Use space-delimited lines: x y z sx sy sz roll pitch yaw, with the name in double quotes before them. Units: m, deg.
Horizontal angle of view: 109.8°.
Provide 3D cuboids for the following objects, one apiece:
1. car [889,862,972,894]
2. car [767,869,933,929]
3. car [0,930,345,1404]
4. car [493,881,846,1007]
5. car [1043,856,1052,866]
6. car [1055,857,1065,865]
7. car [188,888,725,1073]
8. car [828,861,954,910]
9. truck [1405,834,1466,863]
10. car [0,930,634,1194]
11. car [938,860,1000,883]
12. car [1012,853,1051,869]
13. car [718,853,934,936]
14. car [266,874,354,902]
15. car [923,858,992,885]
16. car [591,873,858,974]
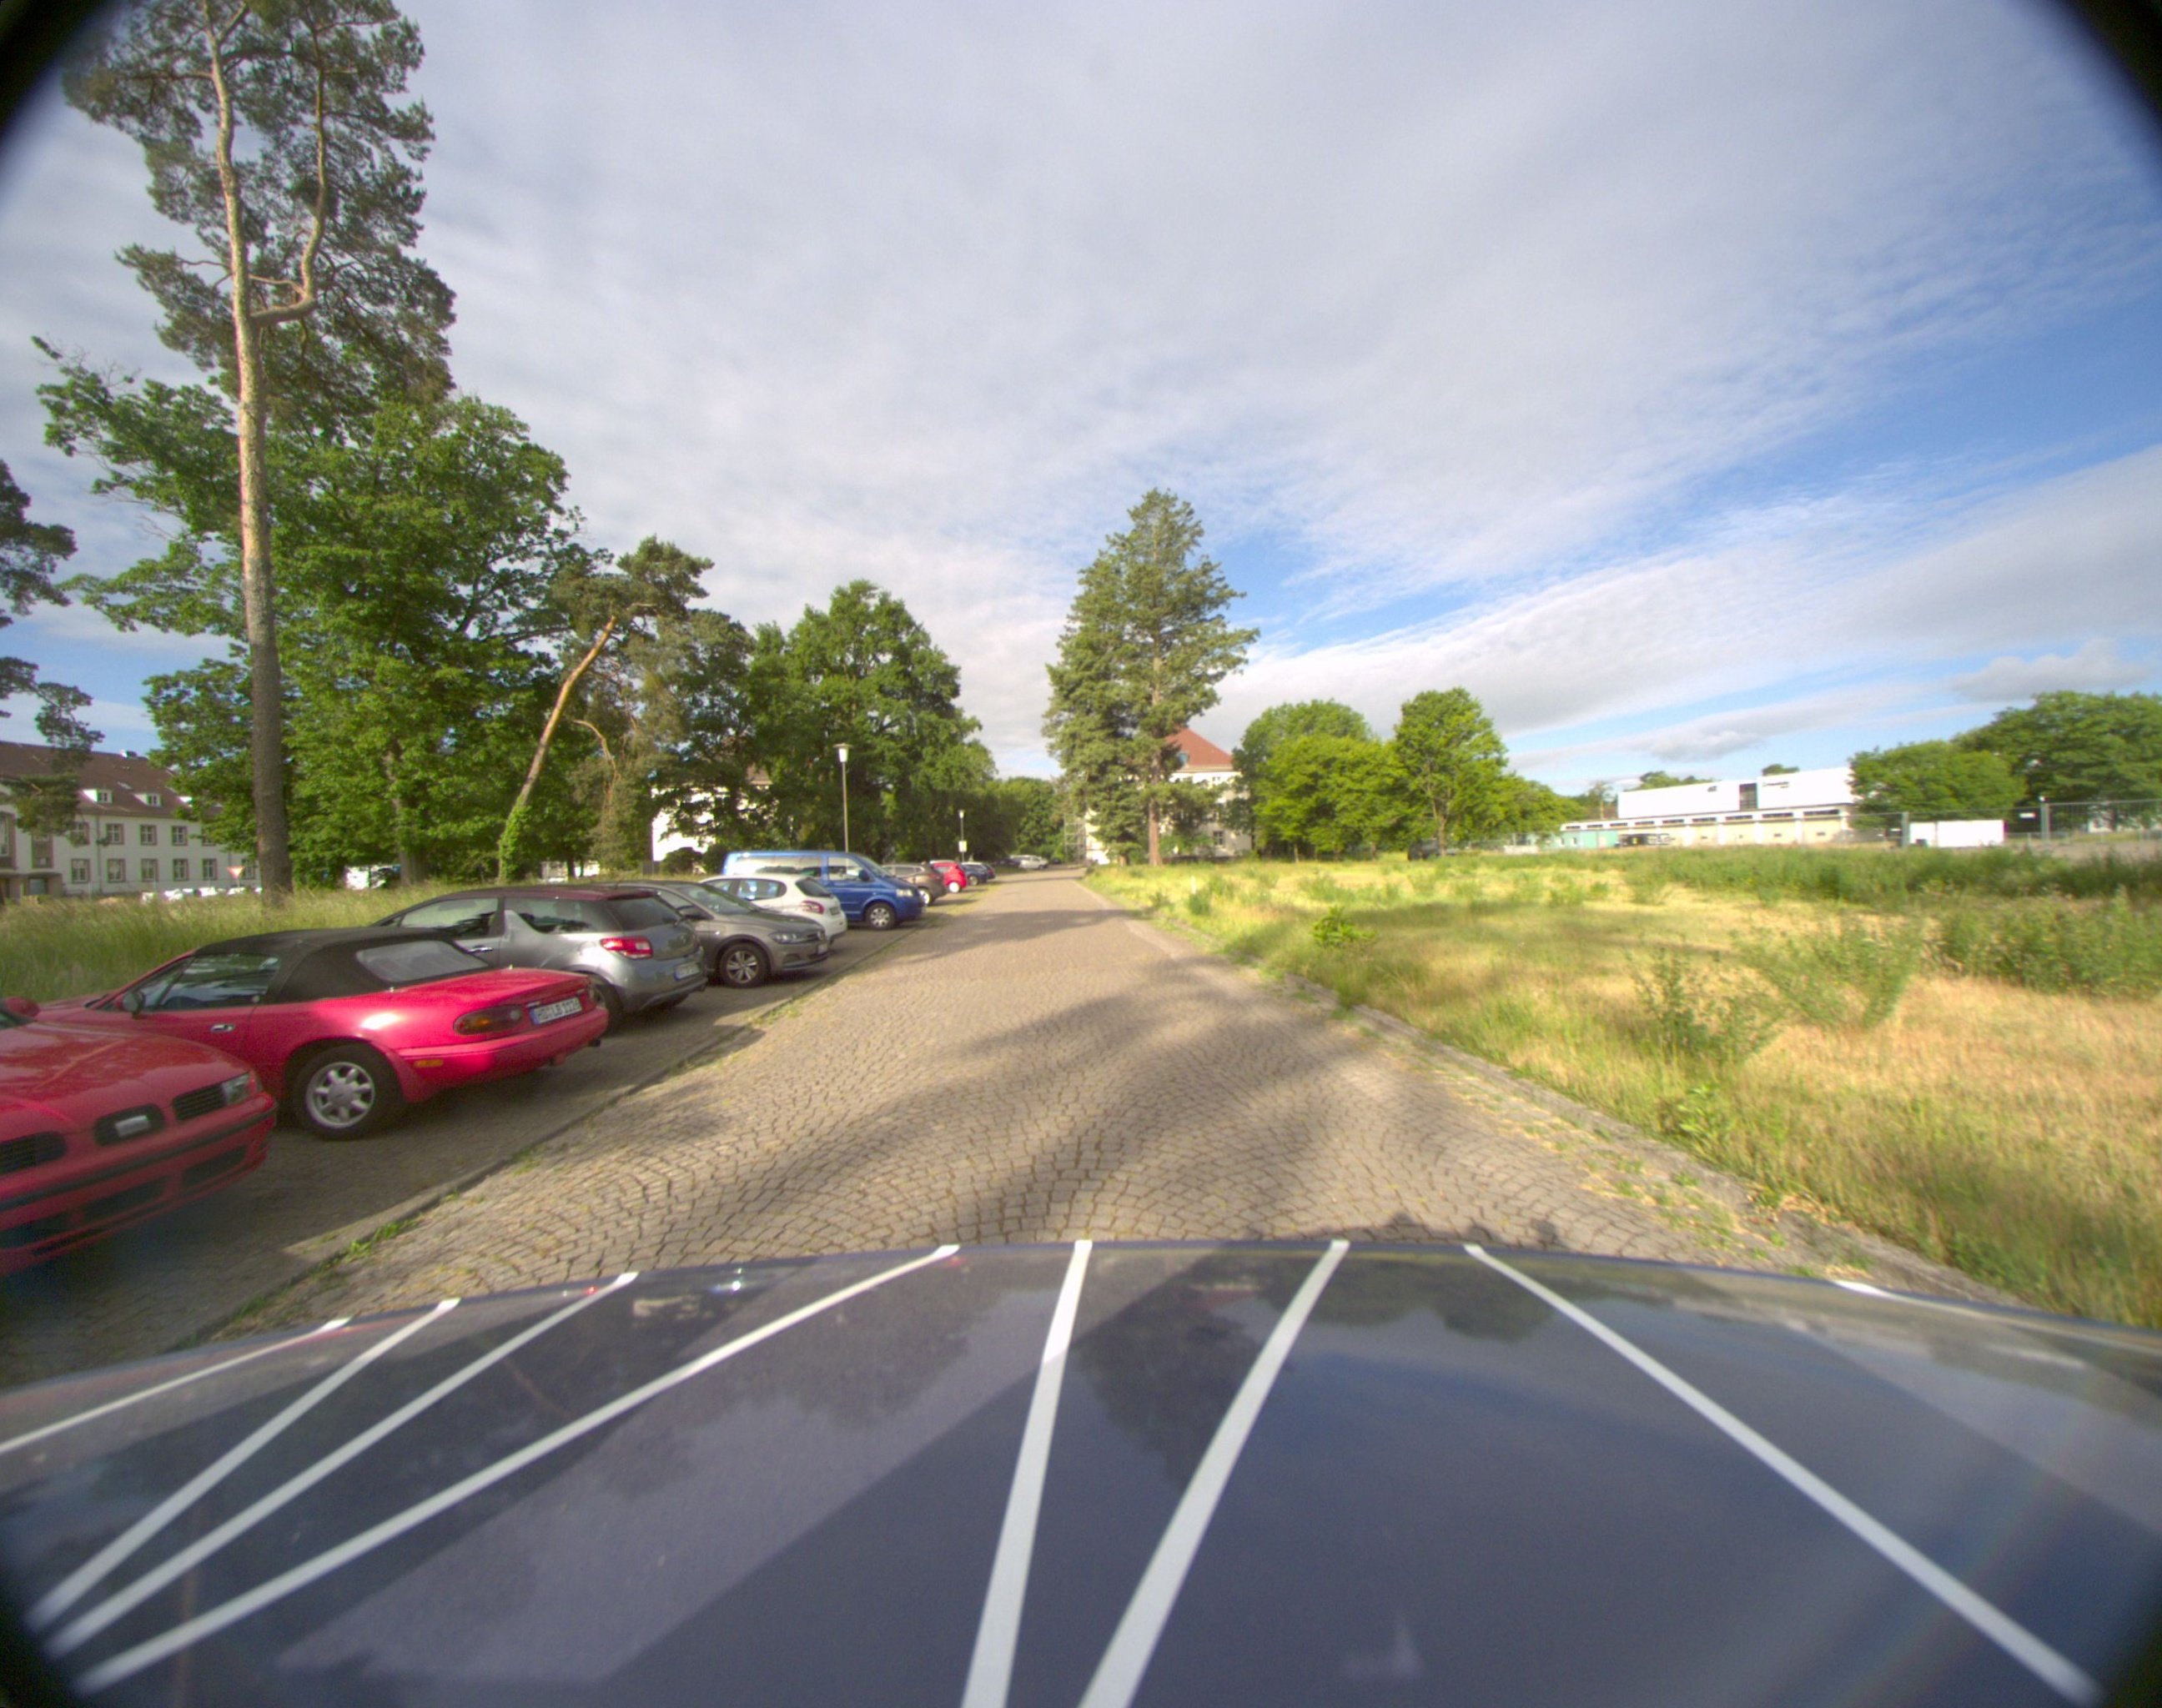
"car" -7.486 1.177 38.068 3.888 1.464 1.686 -1 1 -4
"car" -6.397 1.216 21.491 4.203 1.461 1.806 -1 1 -7
"car" -5.871 1.171 2.835 4.353 1.465 1.739 -1 1 -3
"car" -5.615 1.196 10.799 3.962 1.459 1.830 -1 1 -3
"car" -7.420 1.543 168.268 1.875 1.888 3.998 -2 1 -3
"car" -4.707 1.505 168.639 1.999 1.762 4.107 -2 1 -3
"car" -6.095 1.185 7.845 3.962 1.486 1.771 -1 1 -3
"car" -6.865 1.126 27.827 4.202 1.580 1.877 -1 1 -4
"truck" 33.191 -0.478 71.415 2.418 2.572 6.958 -2 0 -1
"car" -5.606 1.299 5.232 3.962 1.253 1.726 -1 1 -3
"car" -7.779 1.216 53.054 4.036 1.442 1.783 -1 1 -1
"car" -6.669 0.918 102.129 5.080 2.029 1.999 -2 0 -3
"car" -6.213 0.954 18.983 4.746 1.917 1.991 0 1 -4
"car" -72.659 3.172 71.798 2.167 2.286 5.961 -2 0 0
"car" -7.827 1.109 48.347 4.137 1.560 1.746 -1 1 -4
"car" -6.218 1.180 13.626 3.885 1.521 1.807 -1 1 -3
